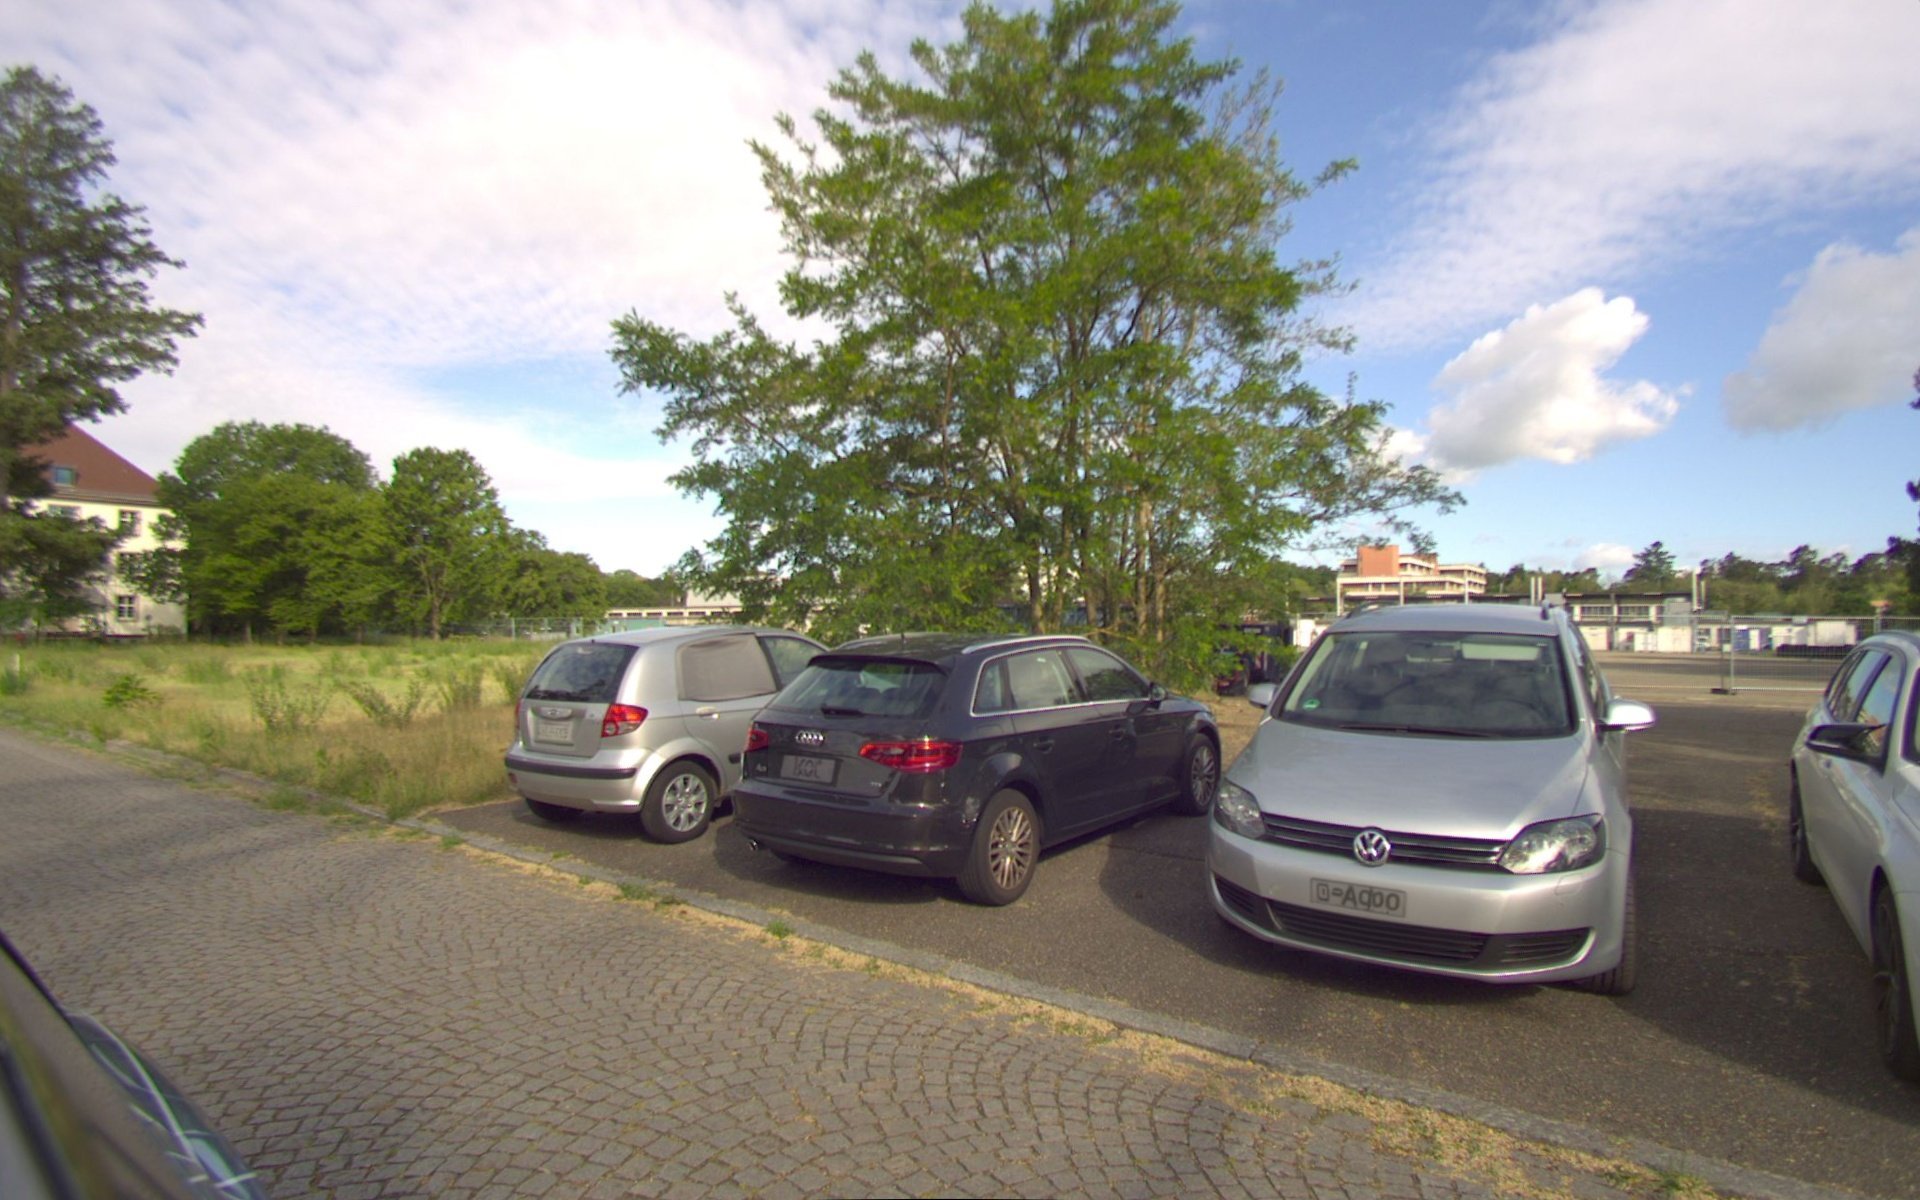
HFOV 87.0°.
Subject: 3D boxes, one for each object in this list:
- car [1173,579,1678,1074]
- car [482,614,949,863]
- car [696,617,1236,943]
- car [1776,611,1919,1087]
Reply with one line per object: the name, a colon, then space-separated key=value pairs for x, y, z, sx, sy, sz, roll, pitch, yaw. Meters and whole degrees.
car: x=2.707 y=0.737 z=5.379 sx=1.731 sy=1.619 sz=3.798 roll=-1 pitch=0 yaw=35
car: x=-1.798 y=0.910 z=8.358 sx=1.643 sy=1.487 sz=3.546 roll=-1 pitch=0 yaw=35
car: x=0.310 y=0.888 z=6.791 sx=1.692 sy=1.419 sz=3.801 roll=-1 pitch=0 yaw=37
car: x=4.696 y=0.804 z=4.044 sx=1.825 sy=1.453 sz=4.440 roll=-1 pitch=0 yaw=34
